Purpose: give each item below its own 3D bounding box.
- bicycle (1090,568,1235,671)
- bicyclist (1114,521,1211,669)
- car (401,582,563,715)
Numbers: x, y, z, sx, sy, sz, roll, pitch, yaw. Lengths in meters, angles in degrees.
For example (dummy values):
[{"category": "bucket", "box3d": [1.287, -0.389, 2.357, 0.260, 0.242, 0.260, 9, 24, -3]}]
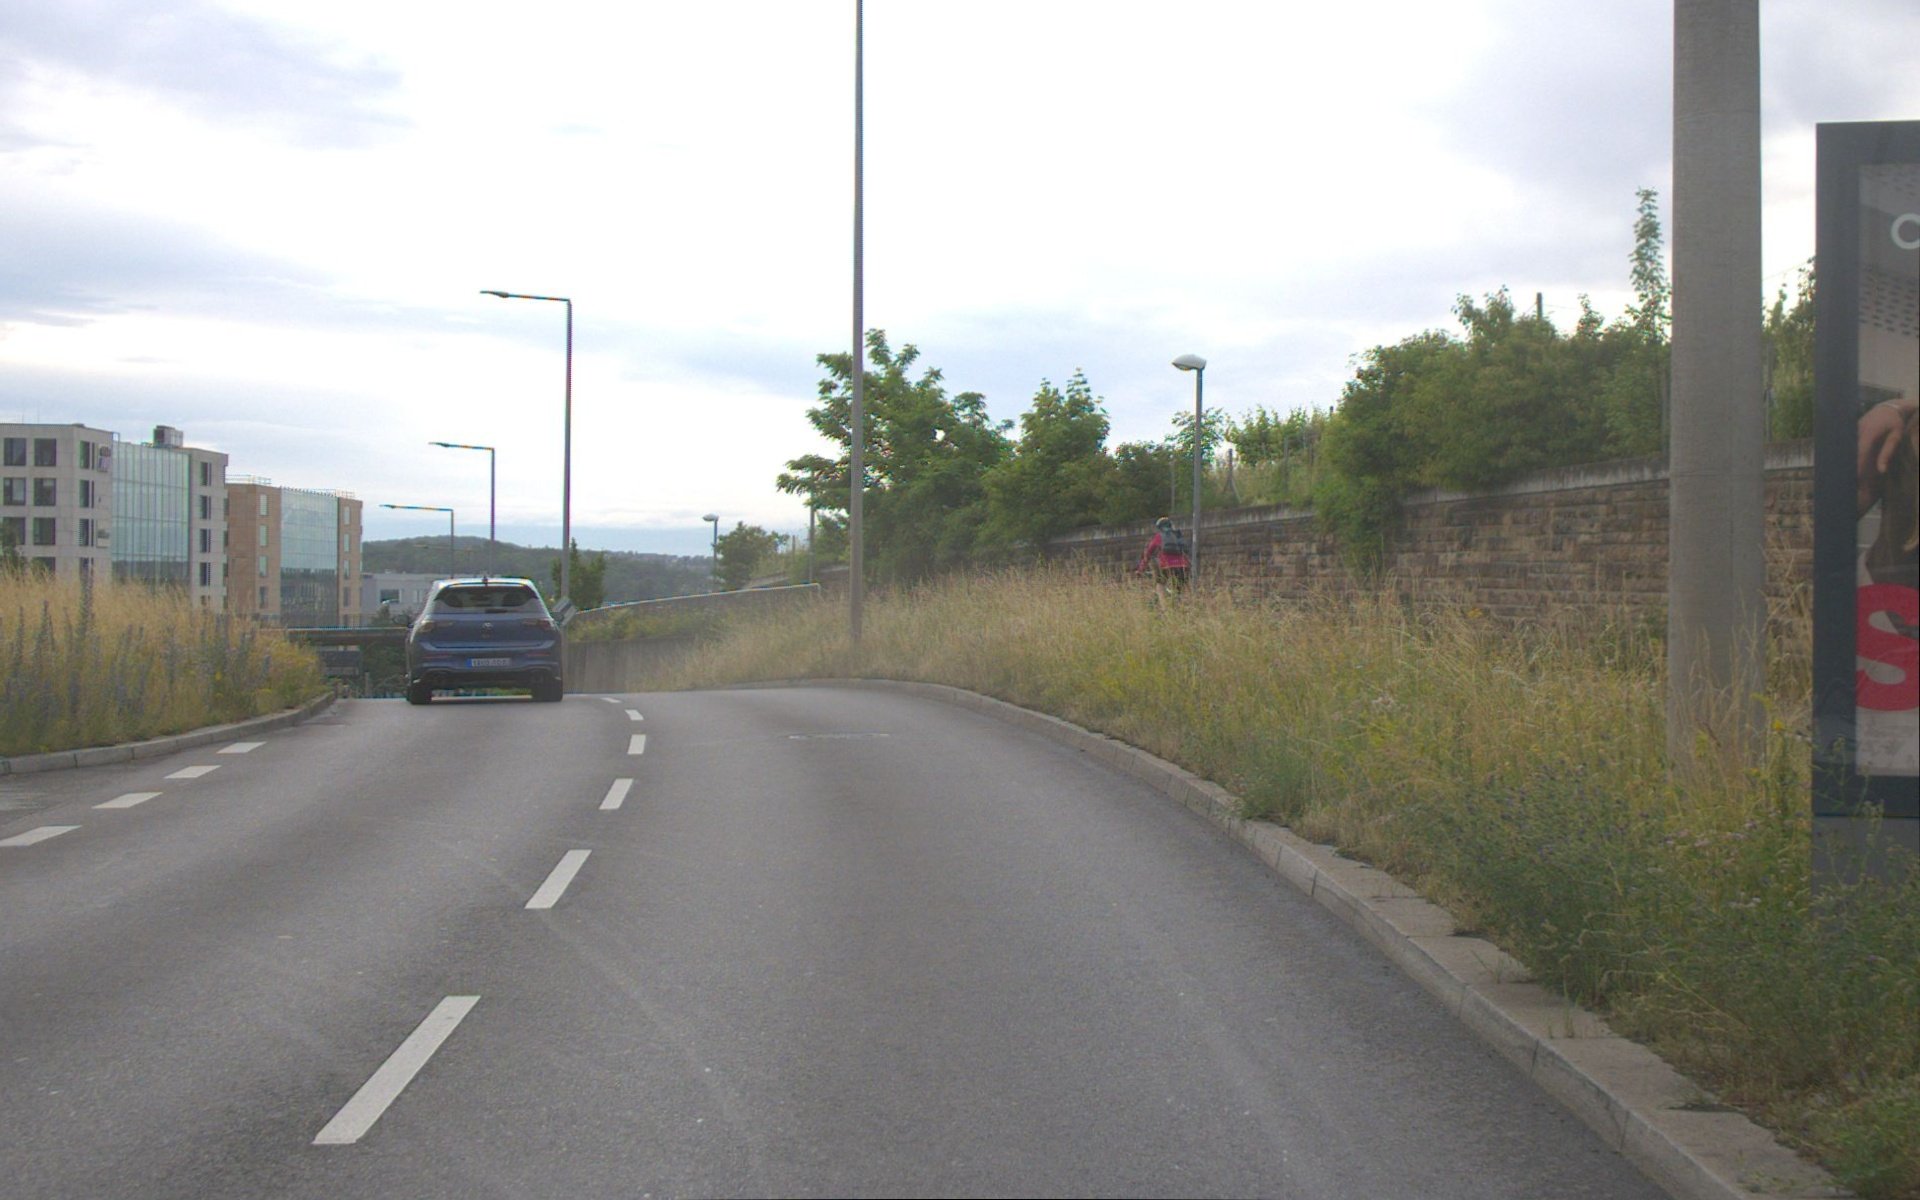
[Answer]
[{"category": "bicycle", "box3d": [2.651, 0.269, 45.548, 0.869, 1.284, 3.488, 3, -1, -14]}, {"category": "bicyclist", "box3d": [2.671, -0.058, 45.470, 0.869, 1.902, 1.294, 3, -1, -14]}, {"category": "car", "box3d": [-5.642, 0.535, 40.472, 1.748, 1.415, 3.479, 3, 0, -8]}]
